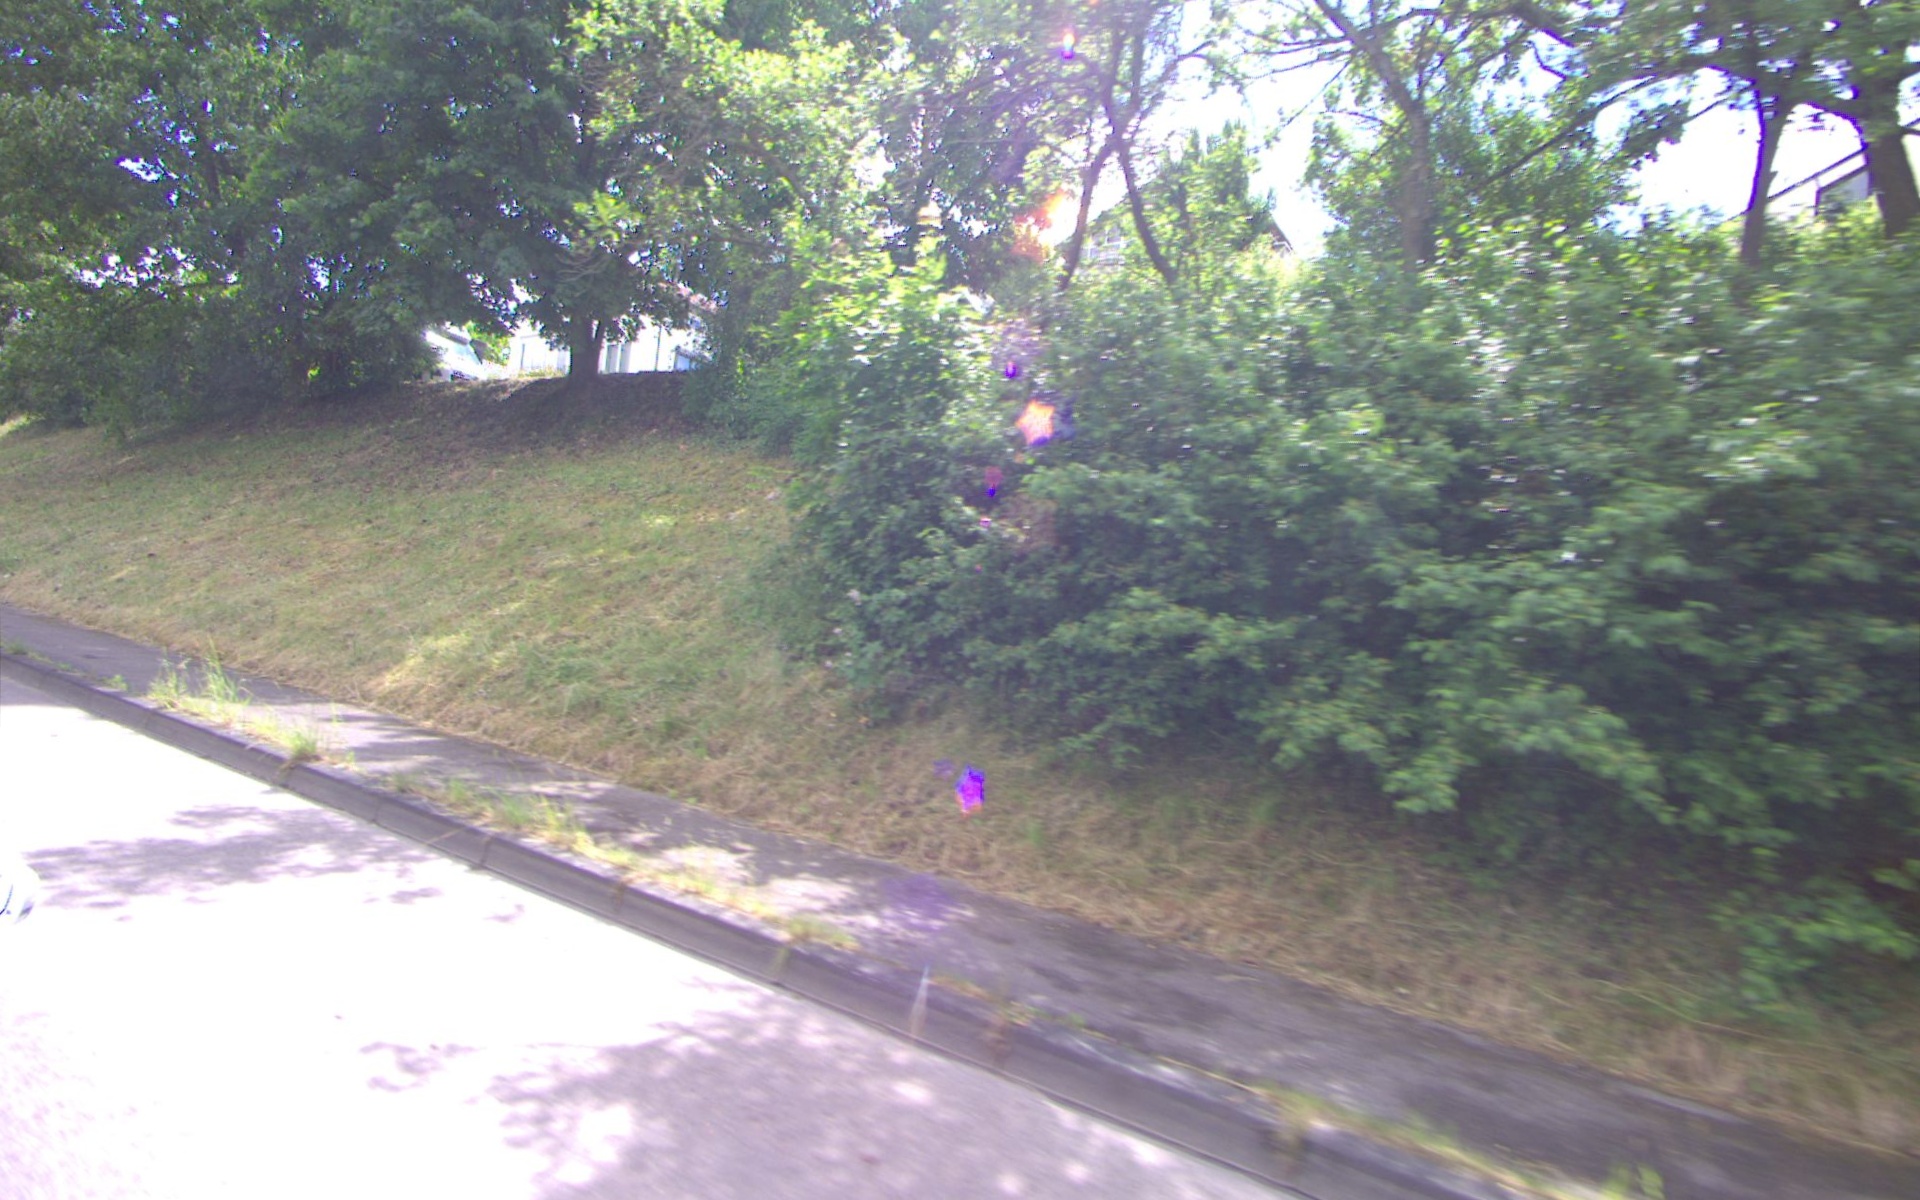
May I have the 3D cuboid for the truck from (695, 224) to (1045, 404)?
[{"bbox_3d":[-1.993,-5.769,21.072,6.919,2.690,2.356,7,-1,29],"label":"truck"}]

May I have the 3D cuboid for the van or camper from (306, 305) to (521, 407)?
[{"bbox_3d":[-15.528,-6.813,28.480,6.055,2.094,2.222,7,-1,28],"label":"van or camper"}]
